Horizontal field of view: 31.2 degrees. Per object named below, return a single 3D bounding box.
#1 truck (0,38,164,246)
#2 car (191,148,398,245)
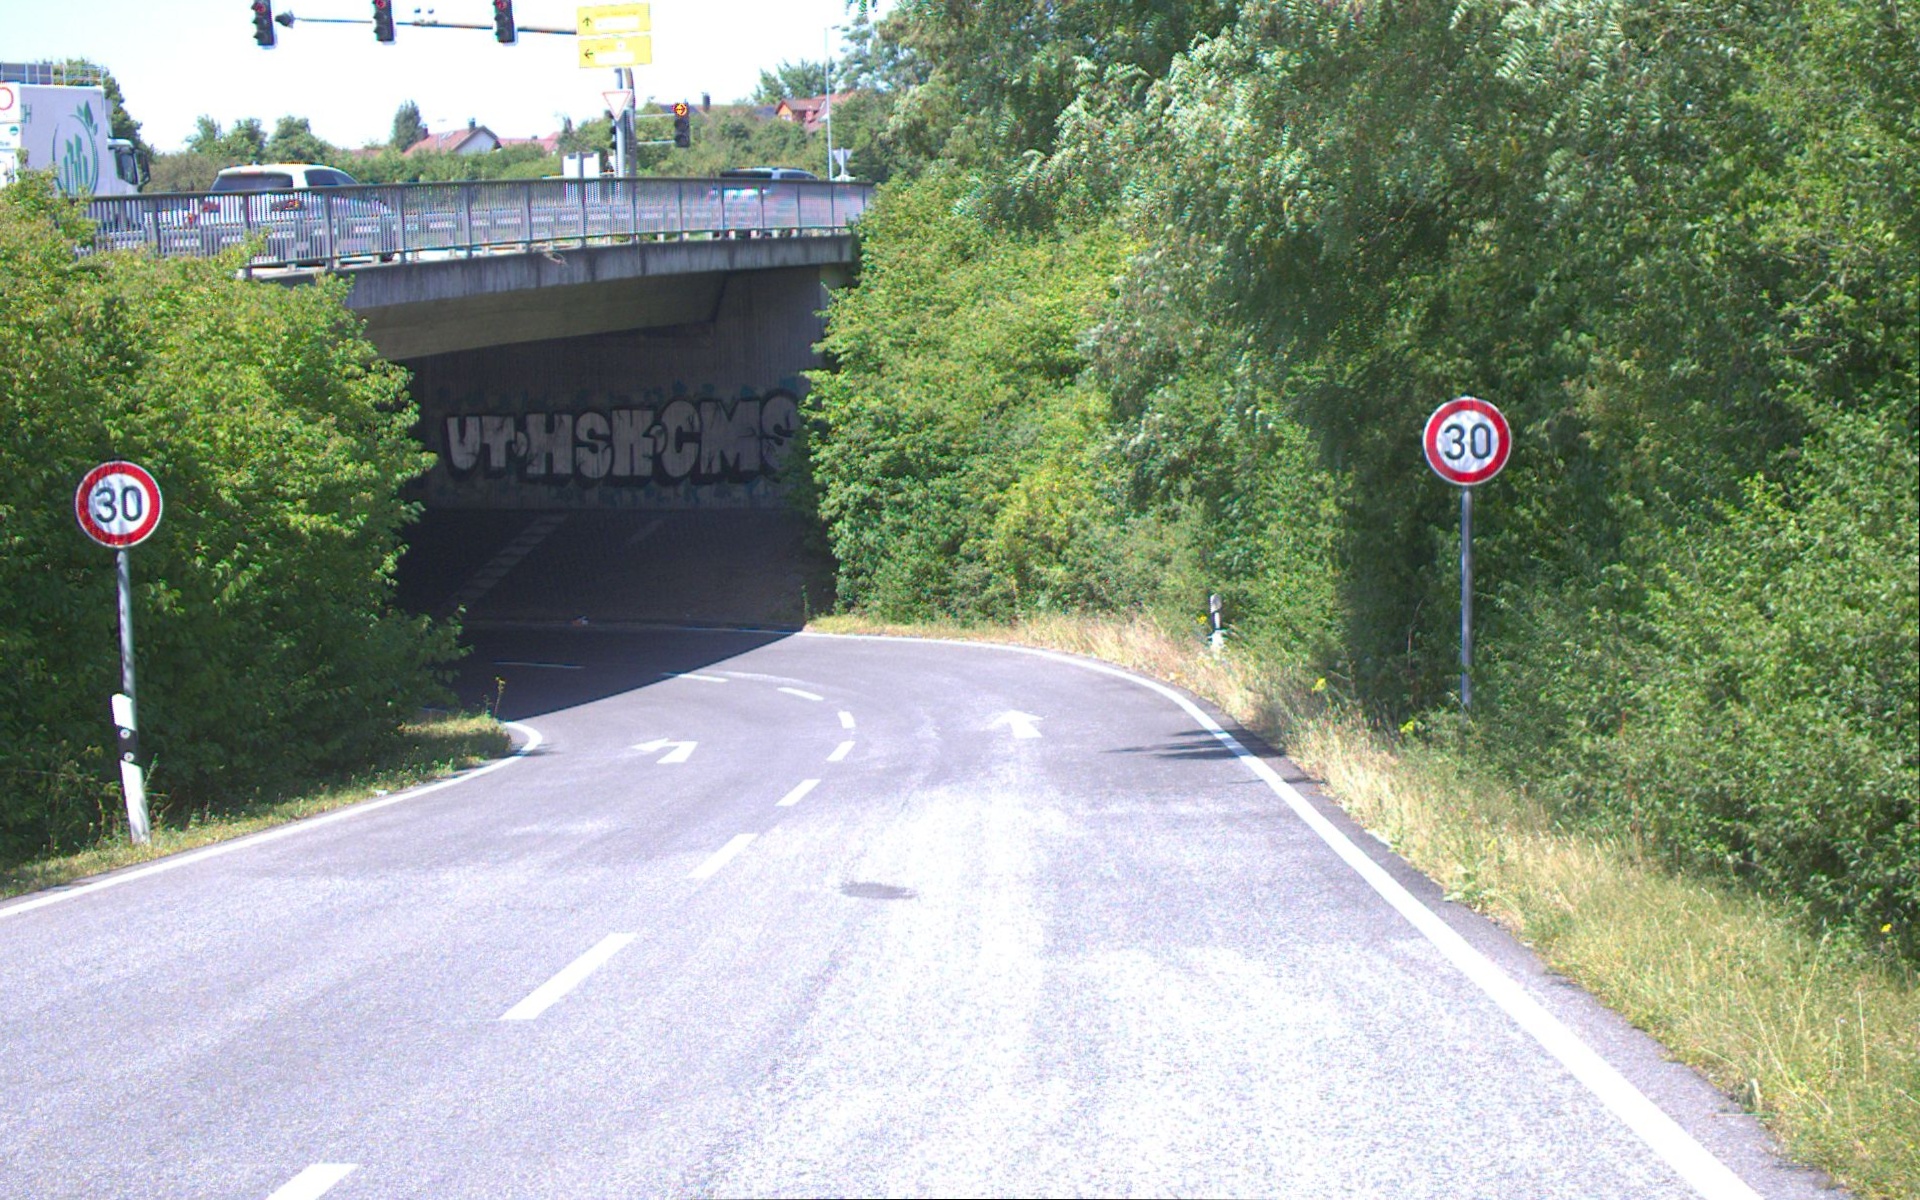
[{"bbox_3d":[-19.002,-8.894,67.173,3.029,3.576,8.900,-2,4,12],"label":"truck"},{"bbox_3d":[-9.640,-5.846,50.040,1.612,1.185,3.478,-2,4,13],"label":"car"}]
